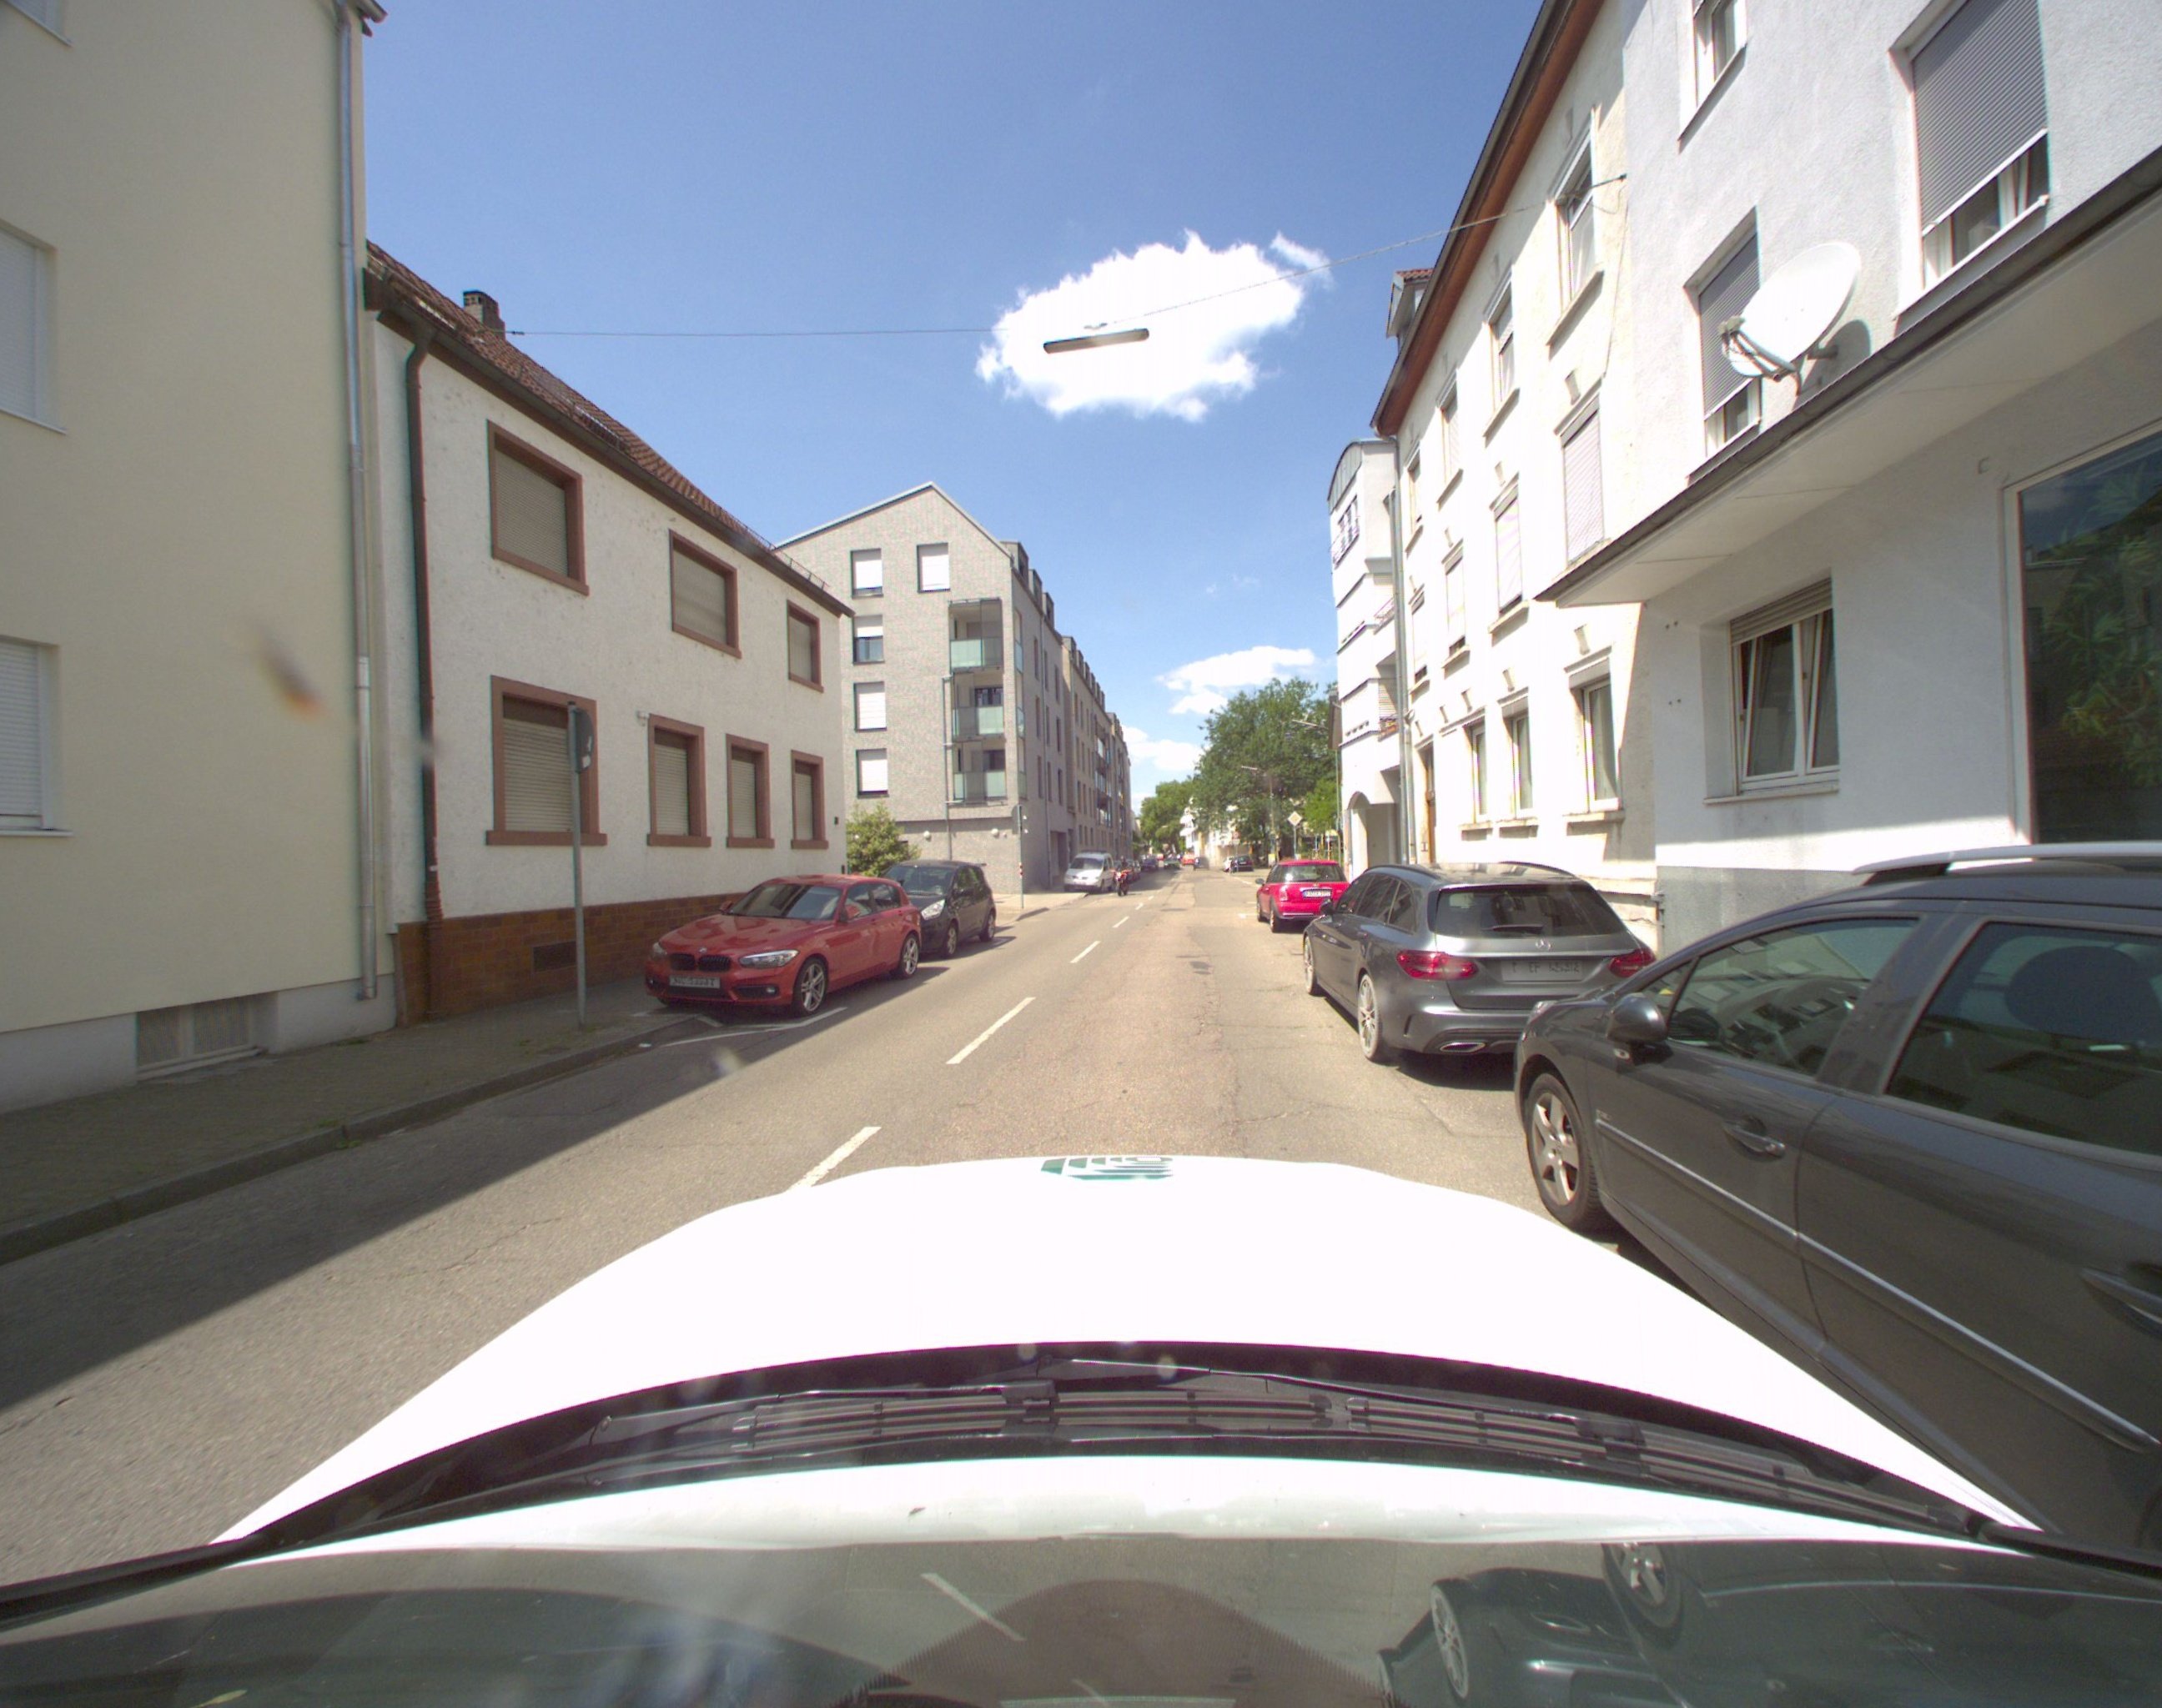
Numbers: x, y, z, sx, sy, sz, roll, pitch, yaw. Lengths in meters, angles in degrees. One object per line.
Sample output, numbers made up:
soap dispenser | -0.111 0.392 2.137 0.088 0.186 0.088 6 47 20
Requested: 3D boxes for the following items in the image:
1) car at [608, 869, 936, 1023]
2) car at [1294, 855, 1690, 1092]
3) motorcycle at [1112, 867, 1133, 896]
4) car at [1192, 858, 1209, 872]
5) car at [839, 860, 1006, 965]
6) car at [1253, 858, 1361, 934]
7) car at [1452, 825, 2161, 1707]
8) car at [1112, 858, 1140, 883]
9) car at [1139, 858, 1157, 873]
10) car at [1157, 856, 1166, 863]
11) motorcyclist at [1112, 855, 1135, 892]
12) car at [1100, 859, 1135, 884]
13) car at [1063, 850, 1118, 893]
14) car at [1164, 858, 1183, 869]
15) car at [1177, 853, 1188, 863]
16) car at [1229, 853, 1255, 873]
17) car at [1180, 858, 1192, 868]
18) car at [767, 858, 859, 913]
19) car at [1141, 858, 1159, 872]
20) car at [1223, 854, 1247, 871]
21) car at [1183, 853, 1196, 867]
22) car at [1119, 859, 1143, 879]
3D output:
car | -3.467 0.966 10.180 1.822 1.417 4.302 -2 -1 10
car | 3.096 0.759 7.282 1.719 1.420 4.554 -2 0 8
motorcycle | 1.759 1.135 34.244 0.684 1.122 2.032 -3 0 7
car | 12.744 1.162 87.206 1.706 1.402 4.009 -3 0 8
car | -2.750 0.973 15.127 1.784 1.646 3.954 -1 0 8
car | 4.656 0.815 17.244 1.610 1.385 3.544 -2 0 6
car | 2.508 0.696 2.106 1.700 1.508 4.009 -2 0 8
car | 3.071 1.086 55.348 1.582 1.554 3.578 -2 0 7
car | 7.046 1.212 85.275 1.723 1.442 4.008 -2 -1 7
car | 22.430 1.532 227.000 2.145 2.013 4.008 -3 0 7
motorcyclist | 1.809 0.795 34.223 0.818 1.509 1.059 -3 -1 7
car | 2.310 1.056 50.334 1.713 1.456 4.015 -1 0 9
car | 0.504 0.769 37.872 1.745 1.892 4.350 0 0 12
car | 11.254 1.145 99.203 1.981 1.381 4.405 0 0 10
car | 17.533 0.762 140.483 1.702 1.634 3.710 -3 0 6
car | 13.222 0.732 67.135 1.683 1.420 4.007 -5 -1 7
car | 19.211 1.626 149.118 1.983 1.618 4.007 -2 -1 6
car | -8.307 0.900 25.084 1.646 1.539 3.524 0 0 -37
car | 7.698 1.183 90.318 1.723 1.442 4.008 -2 -1 7
car | 13.863 0.733 73.388 1.769 1.420 4.007 -2 -1 7
car | 15.968 0.846 119.441 1.828 2.013 4.009 -2 0 8
car | 3.747 1.104 60.610 1.582 1.456 3.711 -1 0 7
